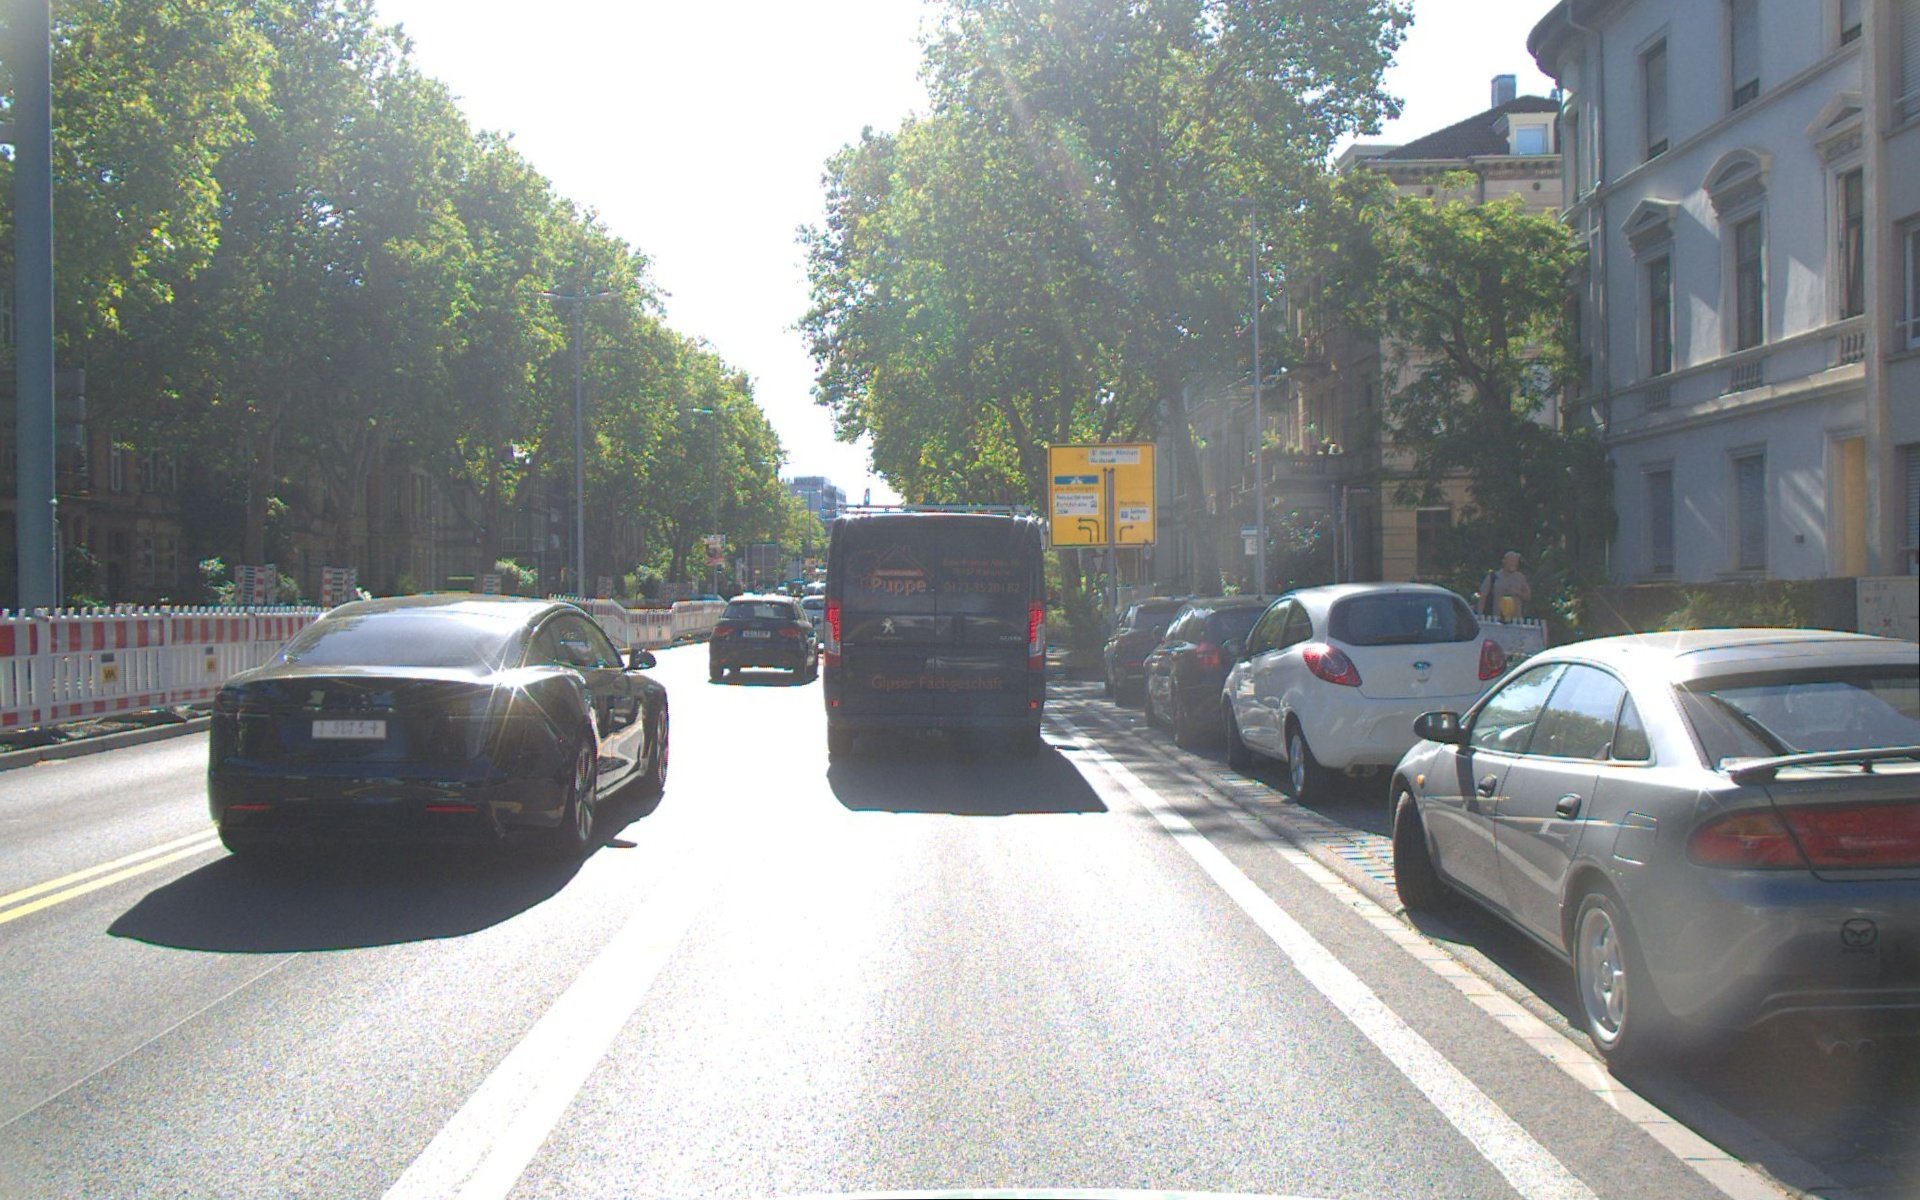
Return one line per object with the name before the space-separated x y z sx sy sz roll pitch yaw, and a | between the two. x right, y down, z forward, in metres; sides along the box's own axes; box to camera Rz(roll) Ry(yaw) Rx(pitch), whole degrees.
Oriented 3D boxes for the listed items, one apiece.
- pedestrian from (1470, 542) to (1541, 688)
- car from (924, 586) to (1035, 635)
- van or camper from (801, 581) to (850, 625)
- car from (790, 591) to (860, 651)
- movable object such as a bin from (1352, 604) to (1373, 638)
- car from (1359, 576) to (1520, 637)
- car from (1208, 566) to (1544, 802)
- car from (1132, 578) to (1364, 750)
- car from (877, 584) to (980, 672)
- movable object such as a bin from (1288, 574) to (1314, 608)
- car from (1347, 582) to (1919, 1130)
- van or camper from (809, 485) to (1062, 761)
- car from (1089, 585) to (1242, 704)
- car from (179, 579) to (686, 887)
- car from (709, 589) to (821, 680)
pedestrian | 7.164 0.192 21.748 0.651 1.881 0.694 -1 0 -1
car | 0.730 0.399 63.386 3.914 1.595 1.775 4 -1 -10
van or camper | -6.678 0.143 82.581 1.953 2.049 5.327 -2 0 -1
car | -3.531 0.520 43.808 1.587 1.512 3.733 0 0 -1
movable object such as a bin | 11.730 0.606 48.208 0.508 0.987 0.398 -1 0 1
car | 13.019 0.160 45.036 3.848 1.588 1.873 0 2 0
car | 3.062 0.553 12.923 1.587 1.512 3.733 -2 0 -1
car | 2.848 0.581 17.168 1.587 1.512 4.056 -2 0 -1
car | -0.539 0.471 31.276 1.796 1.512 4.057 -1 1 0
movable object such as a bin | 10.190 -0.266 49.479 0.673 0.987 0.548 -1 0 1
car | 2.898 0.682 6.545 1.681 1.437 4.047 -2 0 -1
van or camper | -0.295 0.199 16.626 2.200 2.387 4.535 0 0 -2
car | 2.886 0.585 23.950 1.587 1.512 4.096 -2 0 -1
car | -2.955 0.645 10.354 1.800 1.509 4.475 0 0 -1
car | -3.411 0.568 29.477 1.587 1.512 3.733 0 0 -1
